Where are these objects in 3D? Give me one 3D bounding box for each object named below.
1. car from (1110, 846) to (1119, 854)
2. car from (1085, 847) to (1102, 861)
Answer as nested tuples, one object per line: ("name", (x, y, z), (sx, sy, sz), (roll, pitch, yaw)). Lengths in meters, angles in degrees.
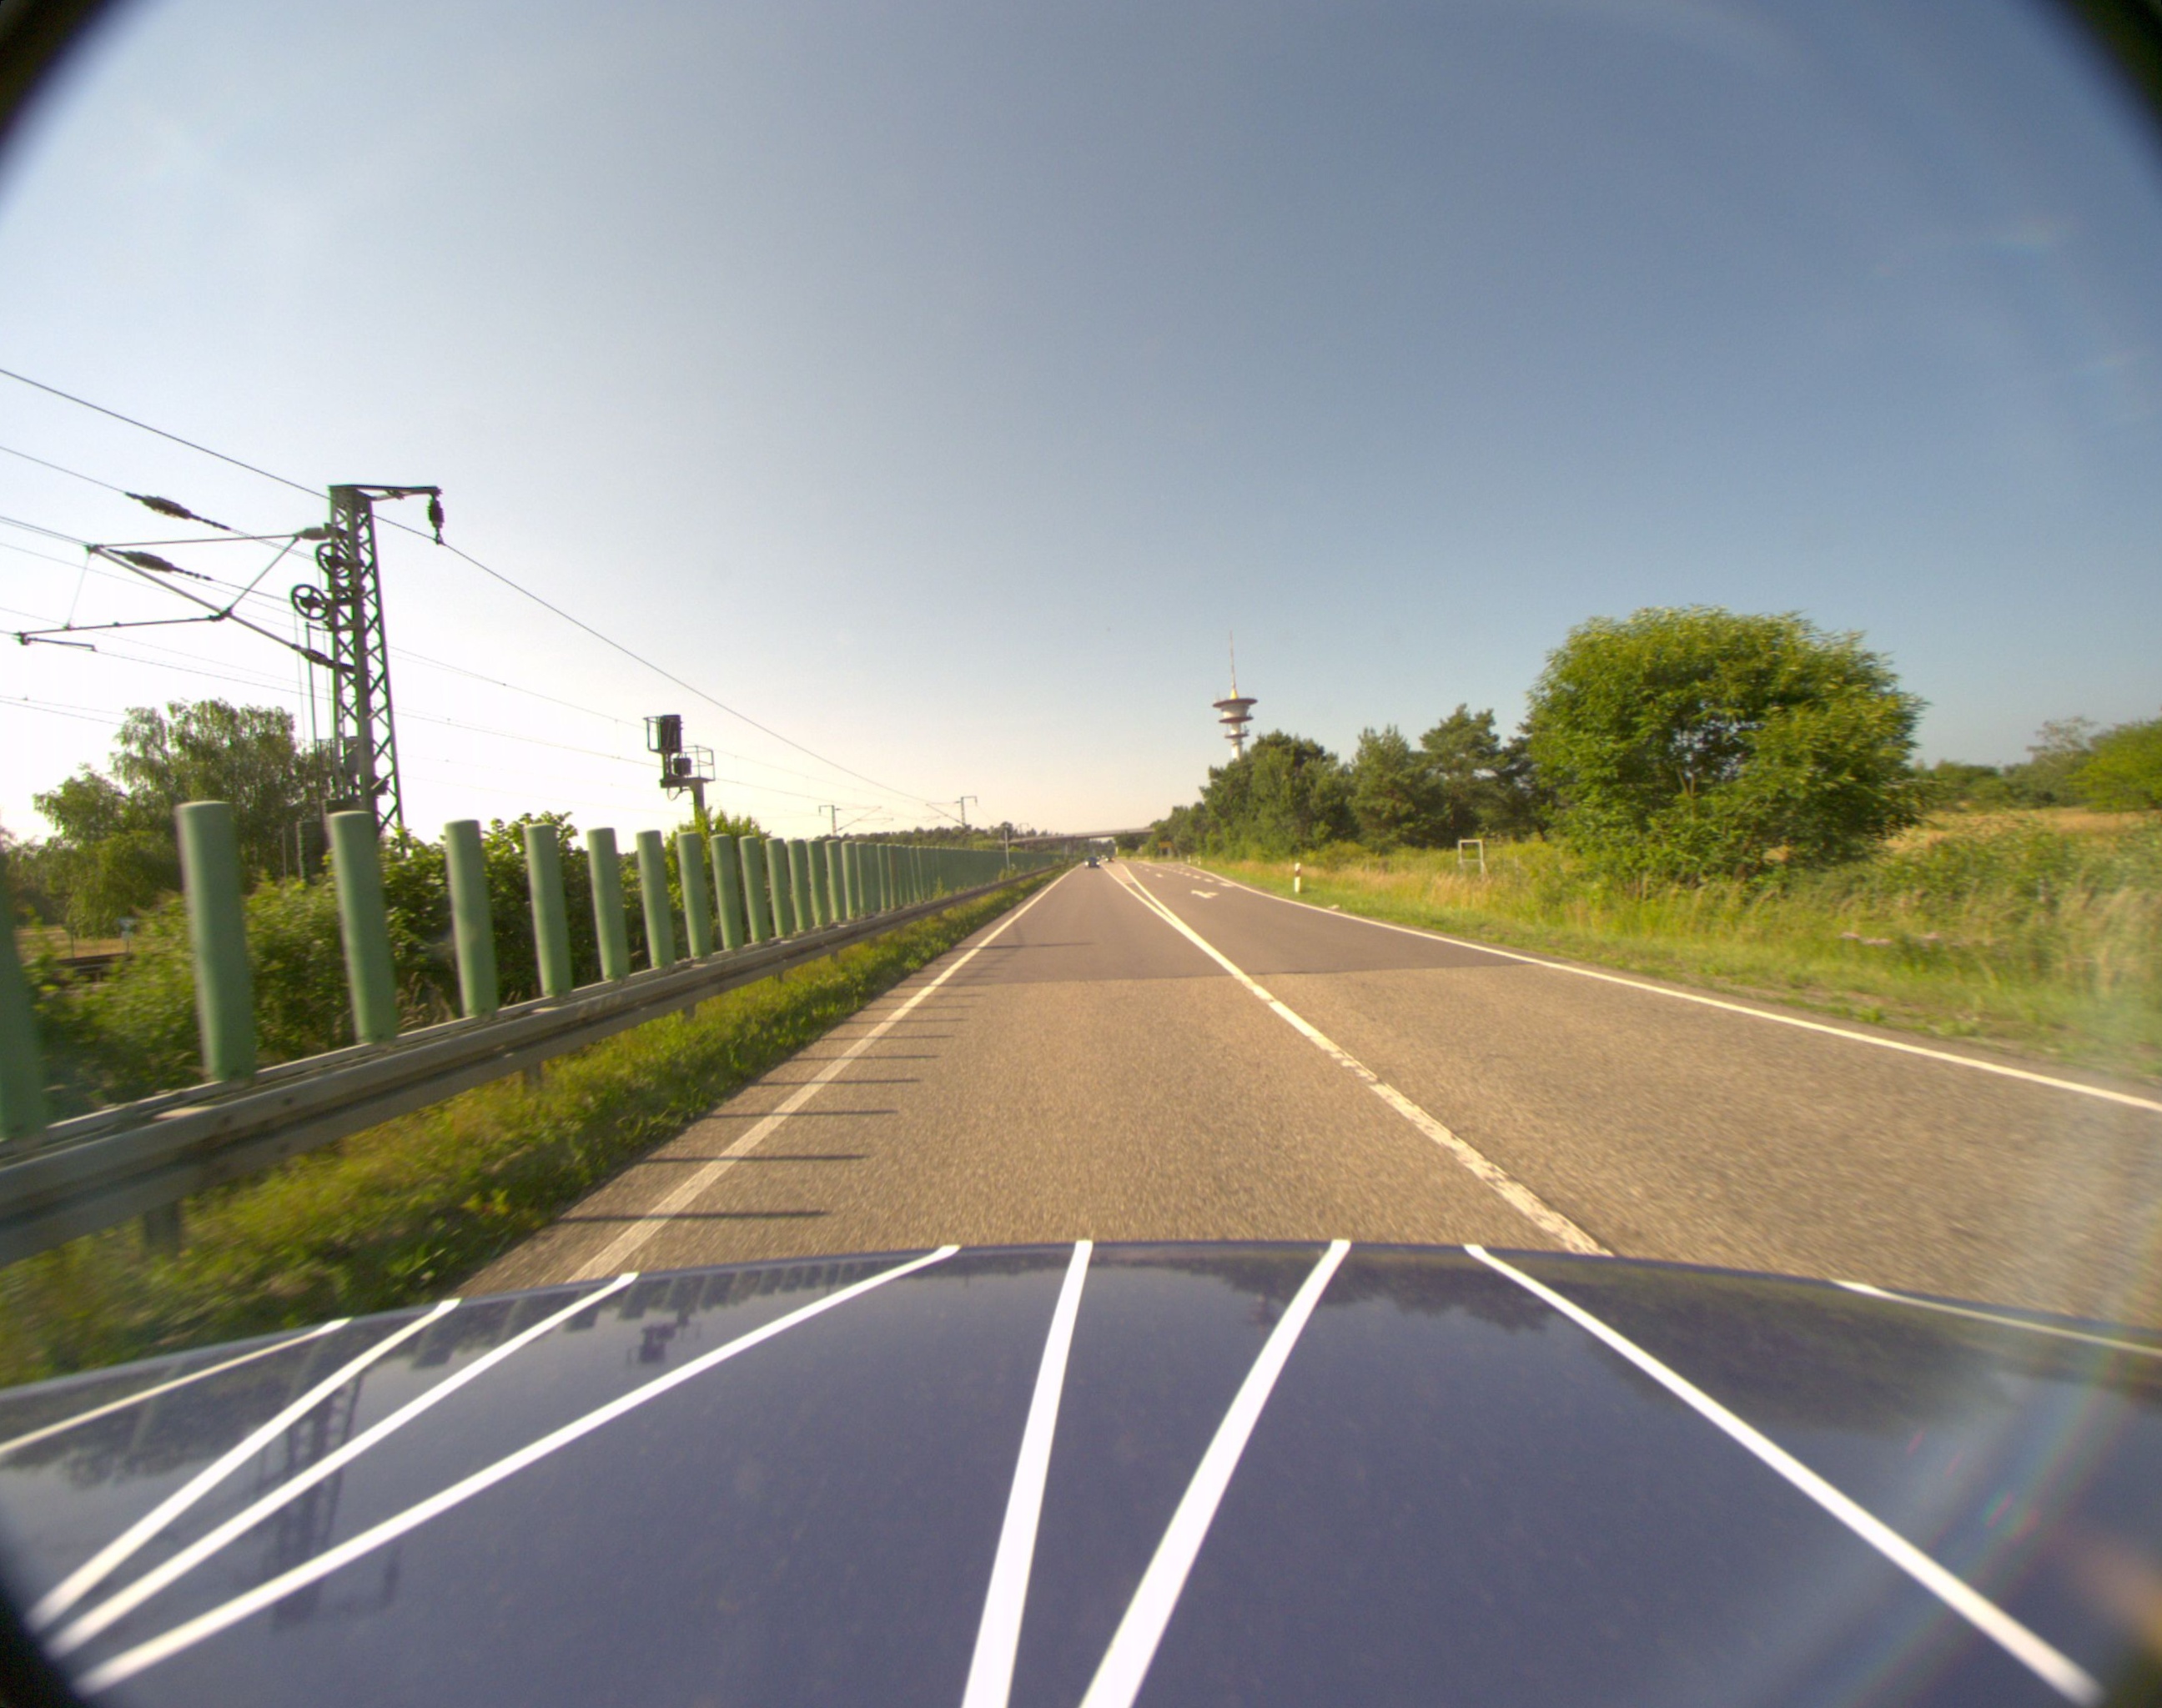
("car", (7.158, -0.903, 163.119), (1.998, 1.533, 4.332), (-2, 1, 2))
("car", (1.555, -0.027, 93.152), (1.868, 1.533, 4.076), (-2, 1, 2))
